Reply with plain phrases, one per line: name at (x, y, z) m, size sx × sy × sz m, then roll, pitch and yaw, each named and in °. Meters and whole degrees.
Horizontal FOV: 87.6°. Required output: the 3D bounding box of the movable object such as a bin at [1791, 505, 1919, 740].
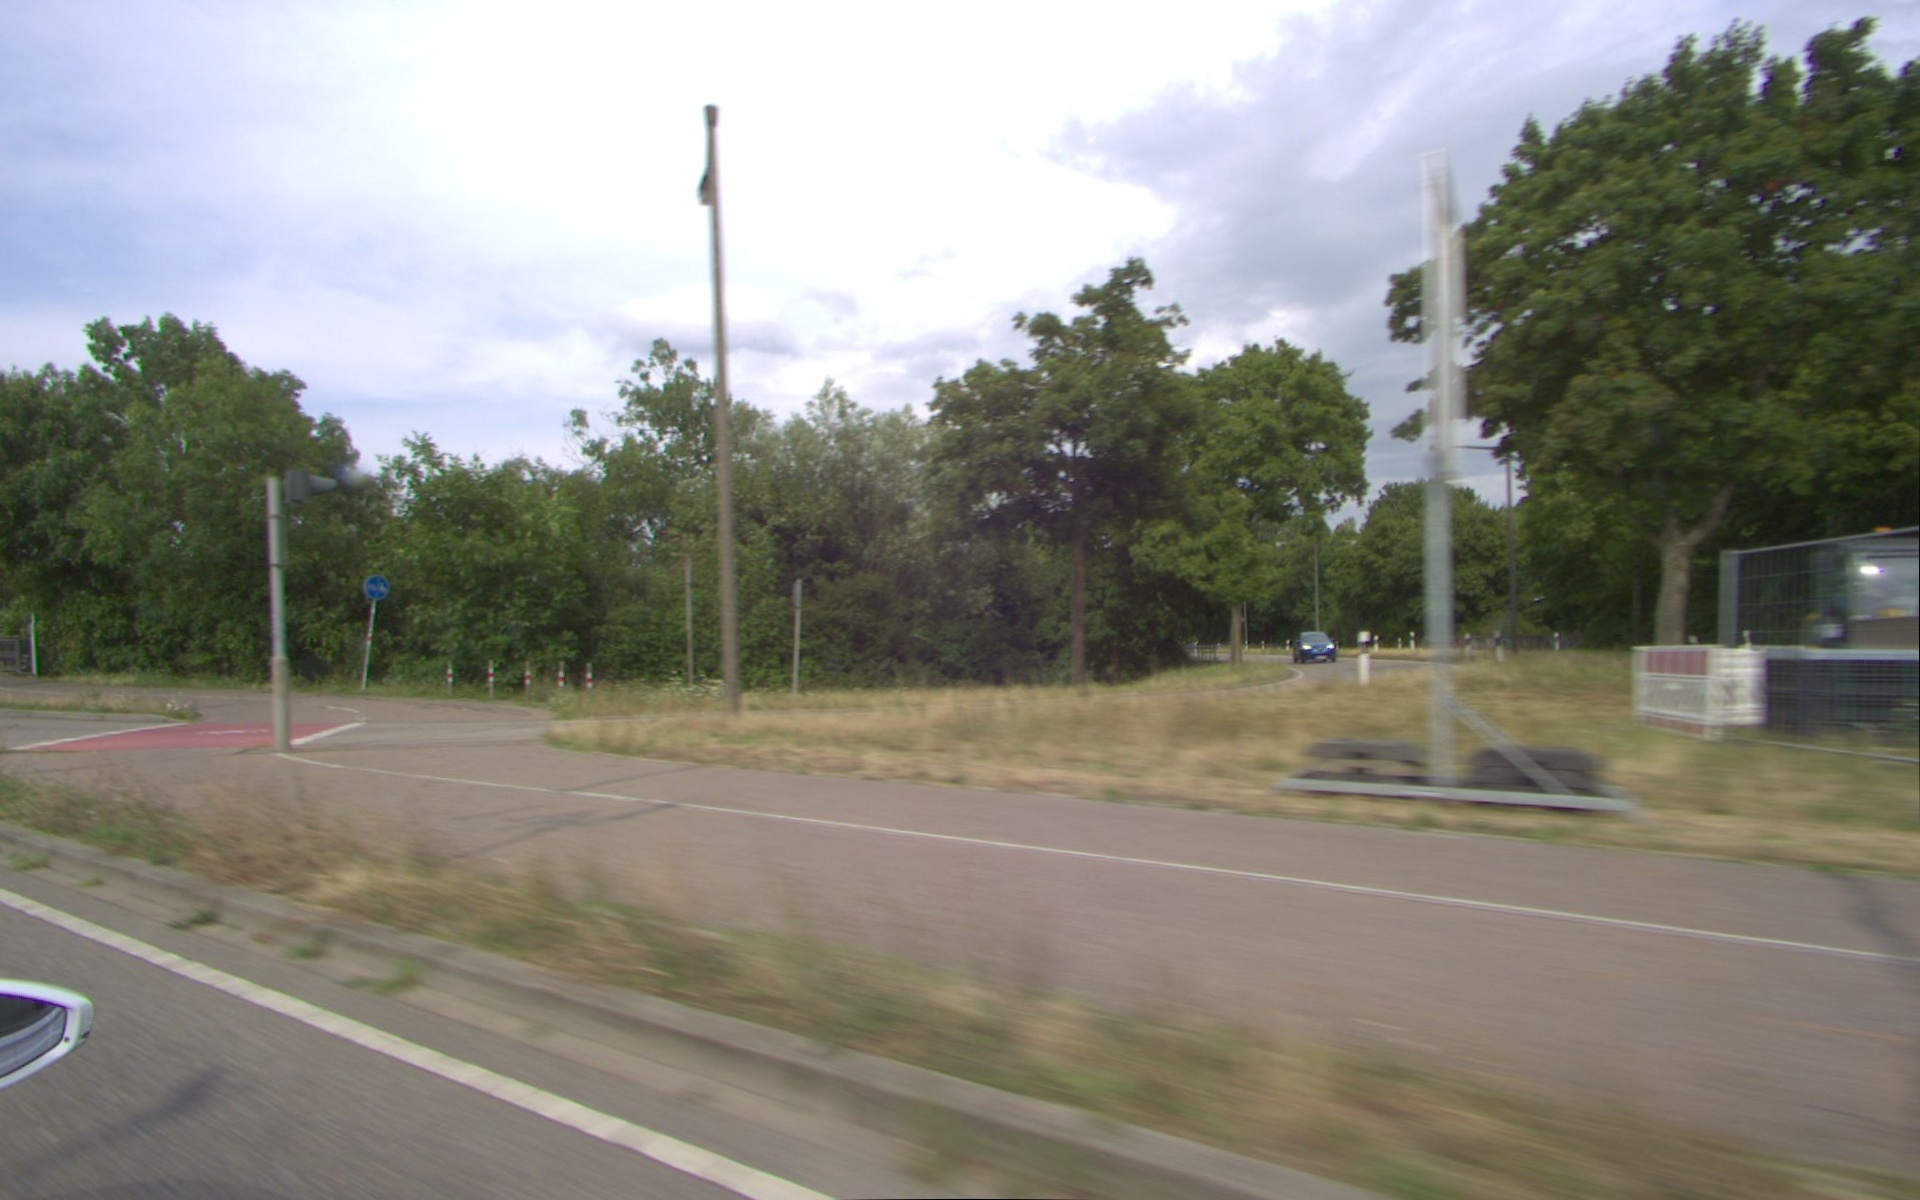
movable object such as a bin at (12.632, 0.319, 13.304) m, size 2.074 × 2.723 × 4.489 m, roll -1°, pitch -2°, yaw 36°

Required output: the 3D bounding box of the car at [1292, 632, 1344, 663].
car at (18.163, 2.406, 51.007) m, size 1.844 × 1.537 × 4.000 m, roll -1°, pitch -2°, yaw 10°
